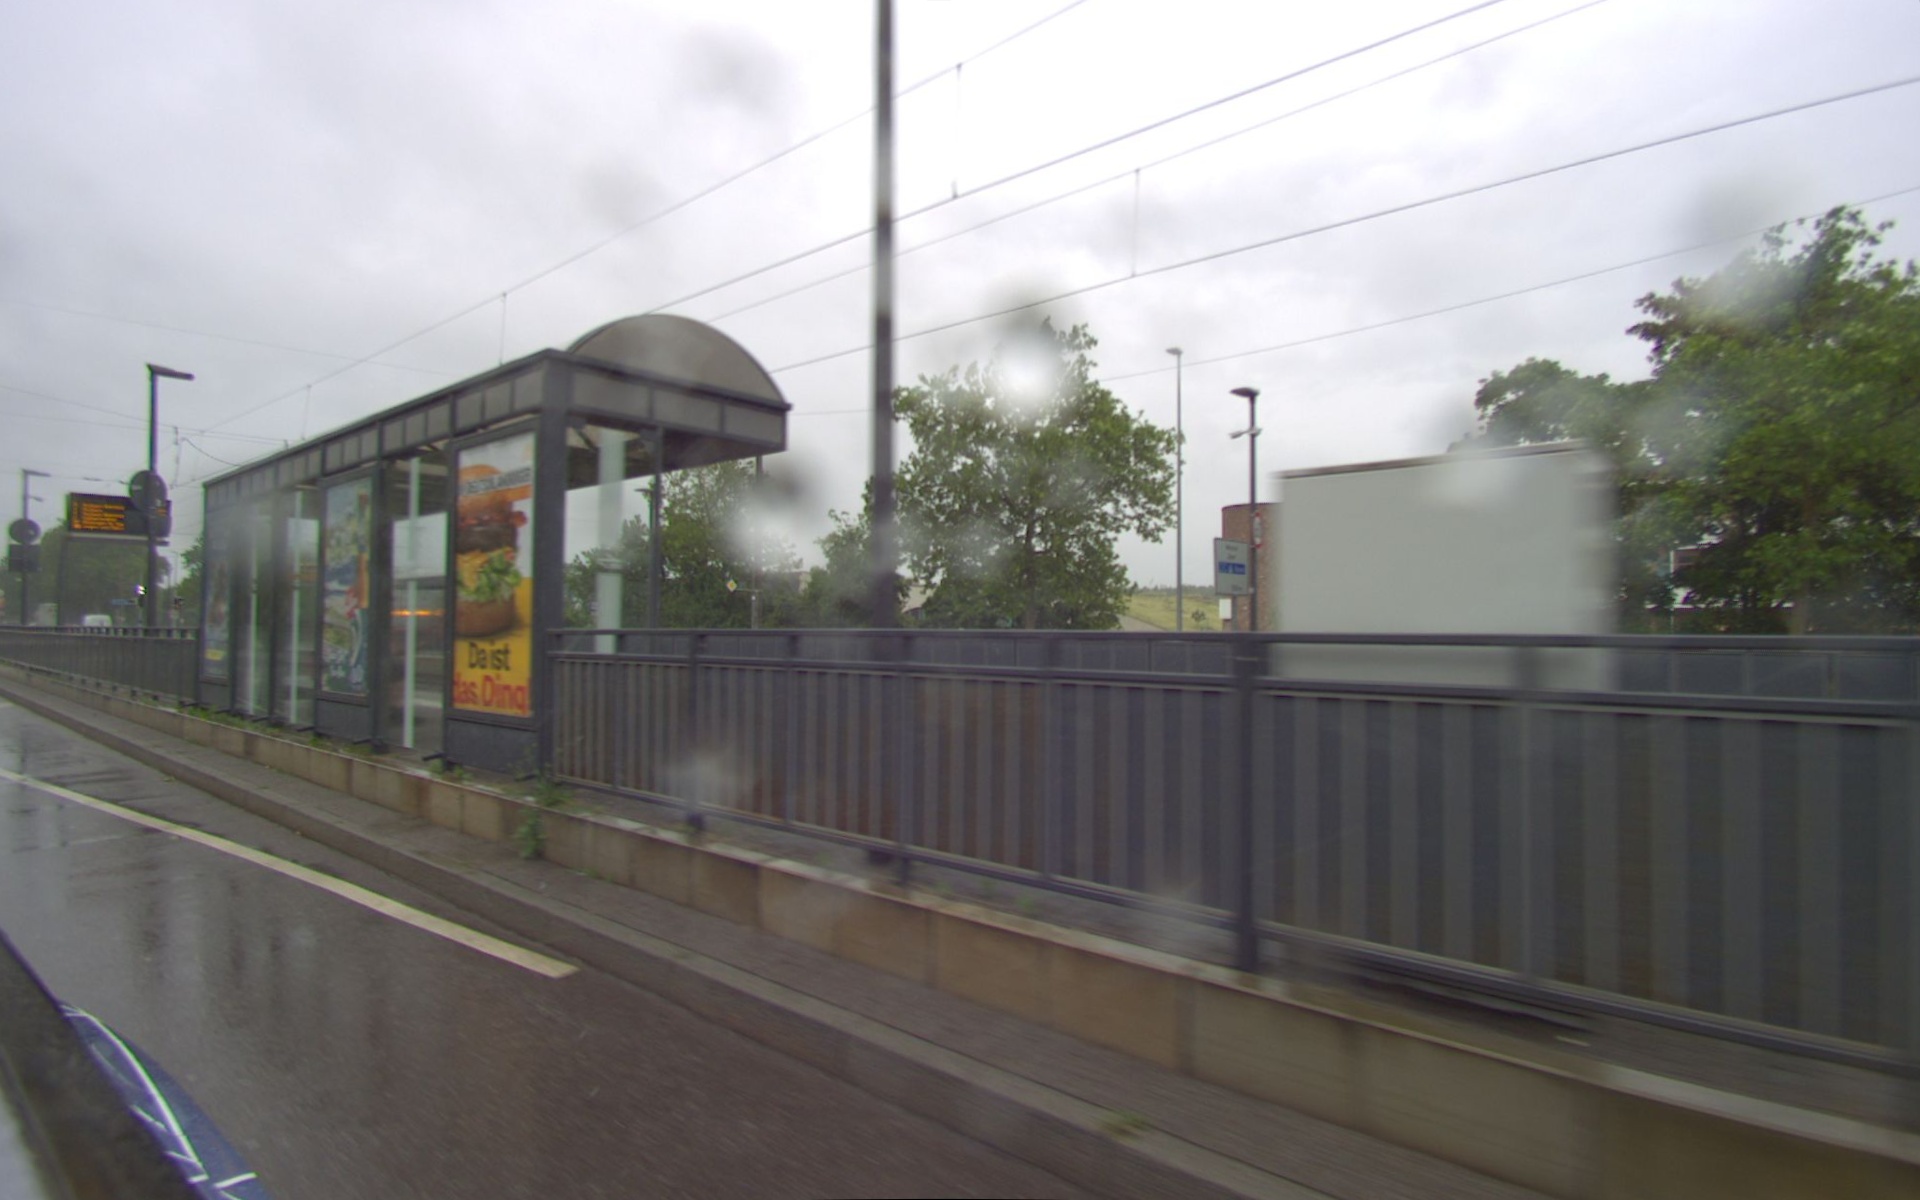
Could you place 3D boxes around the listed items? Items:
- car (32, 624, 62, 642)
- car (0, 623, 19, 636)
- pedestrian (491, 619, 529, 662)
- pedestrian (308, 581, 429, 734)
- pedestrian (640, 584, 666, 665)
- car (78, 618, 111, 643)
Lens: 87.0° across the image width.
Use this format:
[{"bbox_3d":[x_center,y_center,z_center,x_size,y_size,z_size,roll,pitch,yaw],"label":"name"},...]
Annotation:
[{"bbox_3d":[-101.224,3.647,112.162,4.751,2.029,1.972,-1,-1,42],"label":"car"},{"bbox_3d":[-131.179,4.103,139.300,4.257,1.785,1.972,-1,-2,42],"label":"car"},{"bbox_3d":[-14.215,1.271,31.990,0.858,1.326,0.822,-2,-1,42],"label":"pedestrian"},{"bbox_3d":[-5.506,0.515,9.431,0.659,1.350,0.805,-2,-2,41],"label":"pedestrian"},{"bbox_3d":[-15.735,1.231,51.808,1.152,4.059,1.524,0,-1,-21],"label":"pedestrian"},{"bbox_3d":[-98.157,3.476,114.773,5.737,2.733,2.097,-1,-2,42],"label":"car"}]
